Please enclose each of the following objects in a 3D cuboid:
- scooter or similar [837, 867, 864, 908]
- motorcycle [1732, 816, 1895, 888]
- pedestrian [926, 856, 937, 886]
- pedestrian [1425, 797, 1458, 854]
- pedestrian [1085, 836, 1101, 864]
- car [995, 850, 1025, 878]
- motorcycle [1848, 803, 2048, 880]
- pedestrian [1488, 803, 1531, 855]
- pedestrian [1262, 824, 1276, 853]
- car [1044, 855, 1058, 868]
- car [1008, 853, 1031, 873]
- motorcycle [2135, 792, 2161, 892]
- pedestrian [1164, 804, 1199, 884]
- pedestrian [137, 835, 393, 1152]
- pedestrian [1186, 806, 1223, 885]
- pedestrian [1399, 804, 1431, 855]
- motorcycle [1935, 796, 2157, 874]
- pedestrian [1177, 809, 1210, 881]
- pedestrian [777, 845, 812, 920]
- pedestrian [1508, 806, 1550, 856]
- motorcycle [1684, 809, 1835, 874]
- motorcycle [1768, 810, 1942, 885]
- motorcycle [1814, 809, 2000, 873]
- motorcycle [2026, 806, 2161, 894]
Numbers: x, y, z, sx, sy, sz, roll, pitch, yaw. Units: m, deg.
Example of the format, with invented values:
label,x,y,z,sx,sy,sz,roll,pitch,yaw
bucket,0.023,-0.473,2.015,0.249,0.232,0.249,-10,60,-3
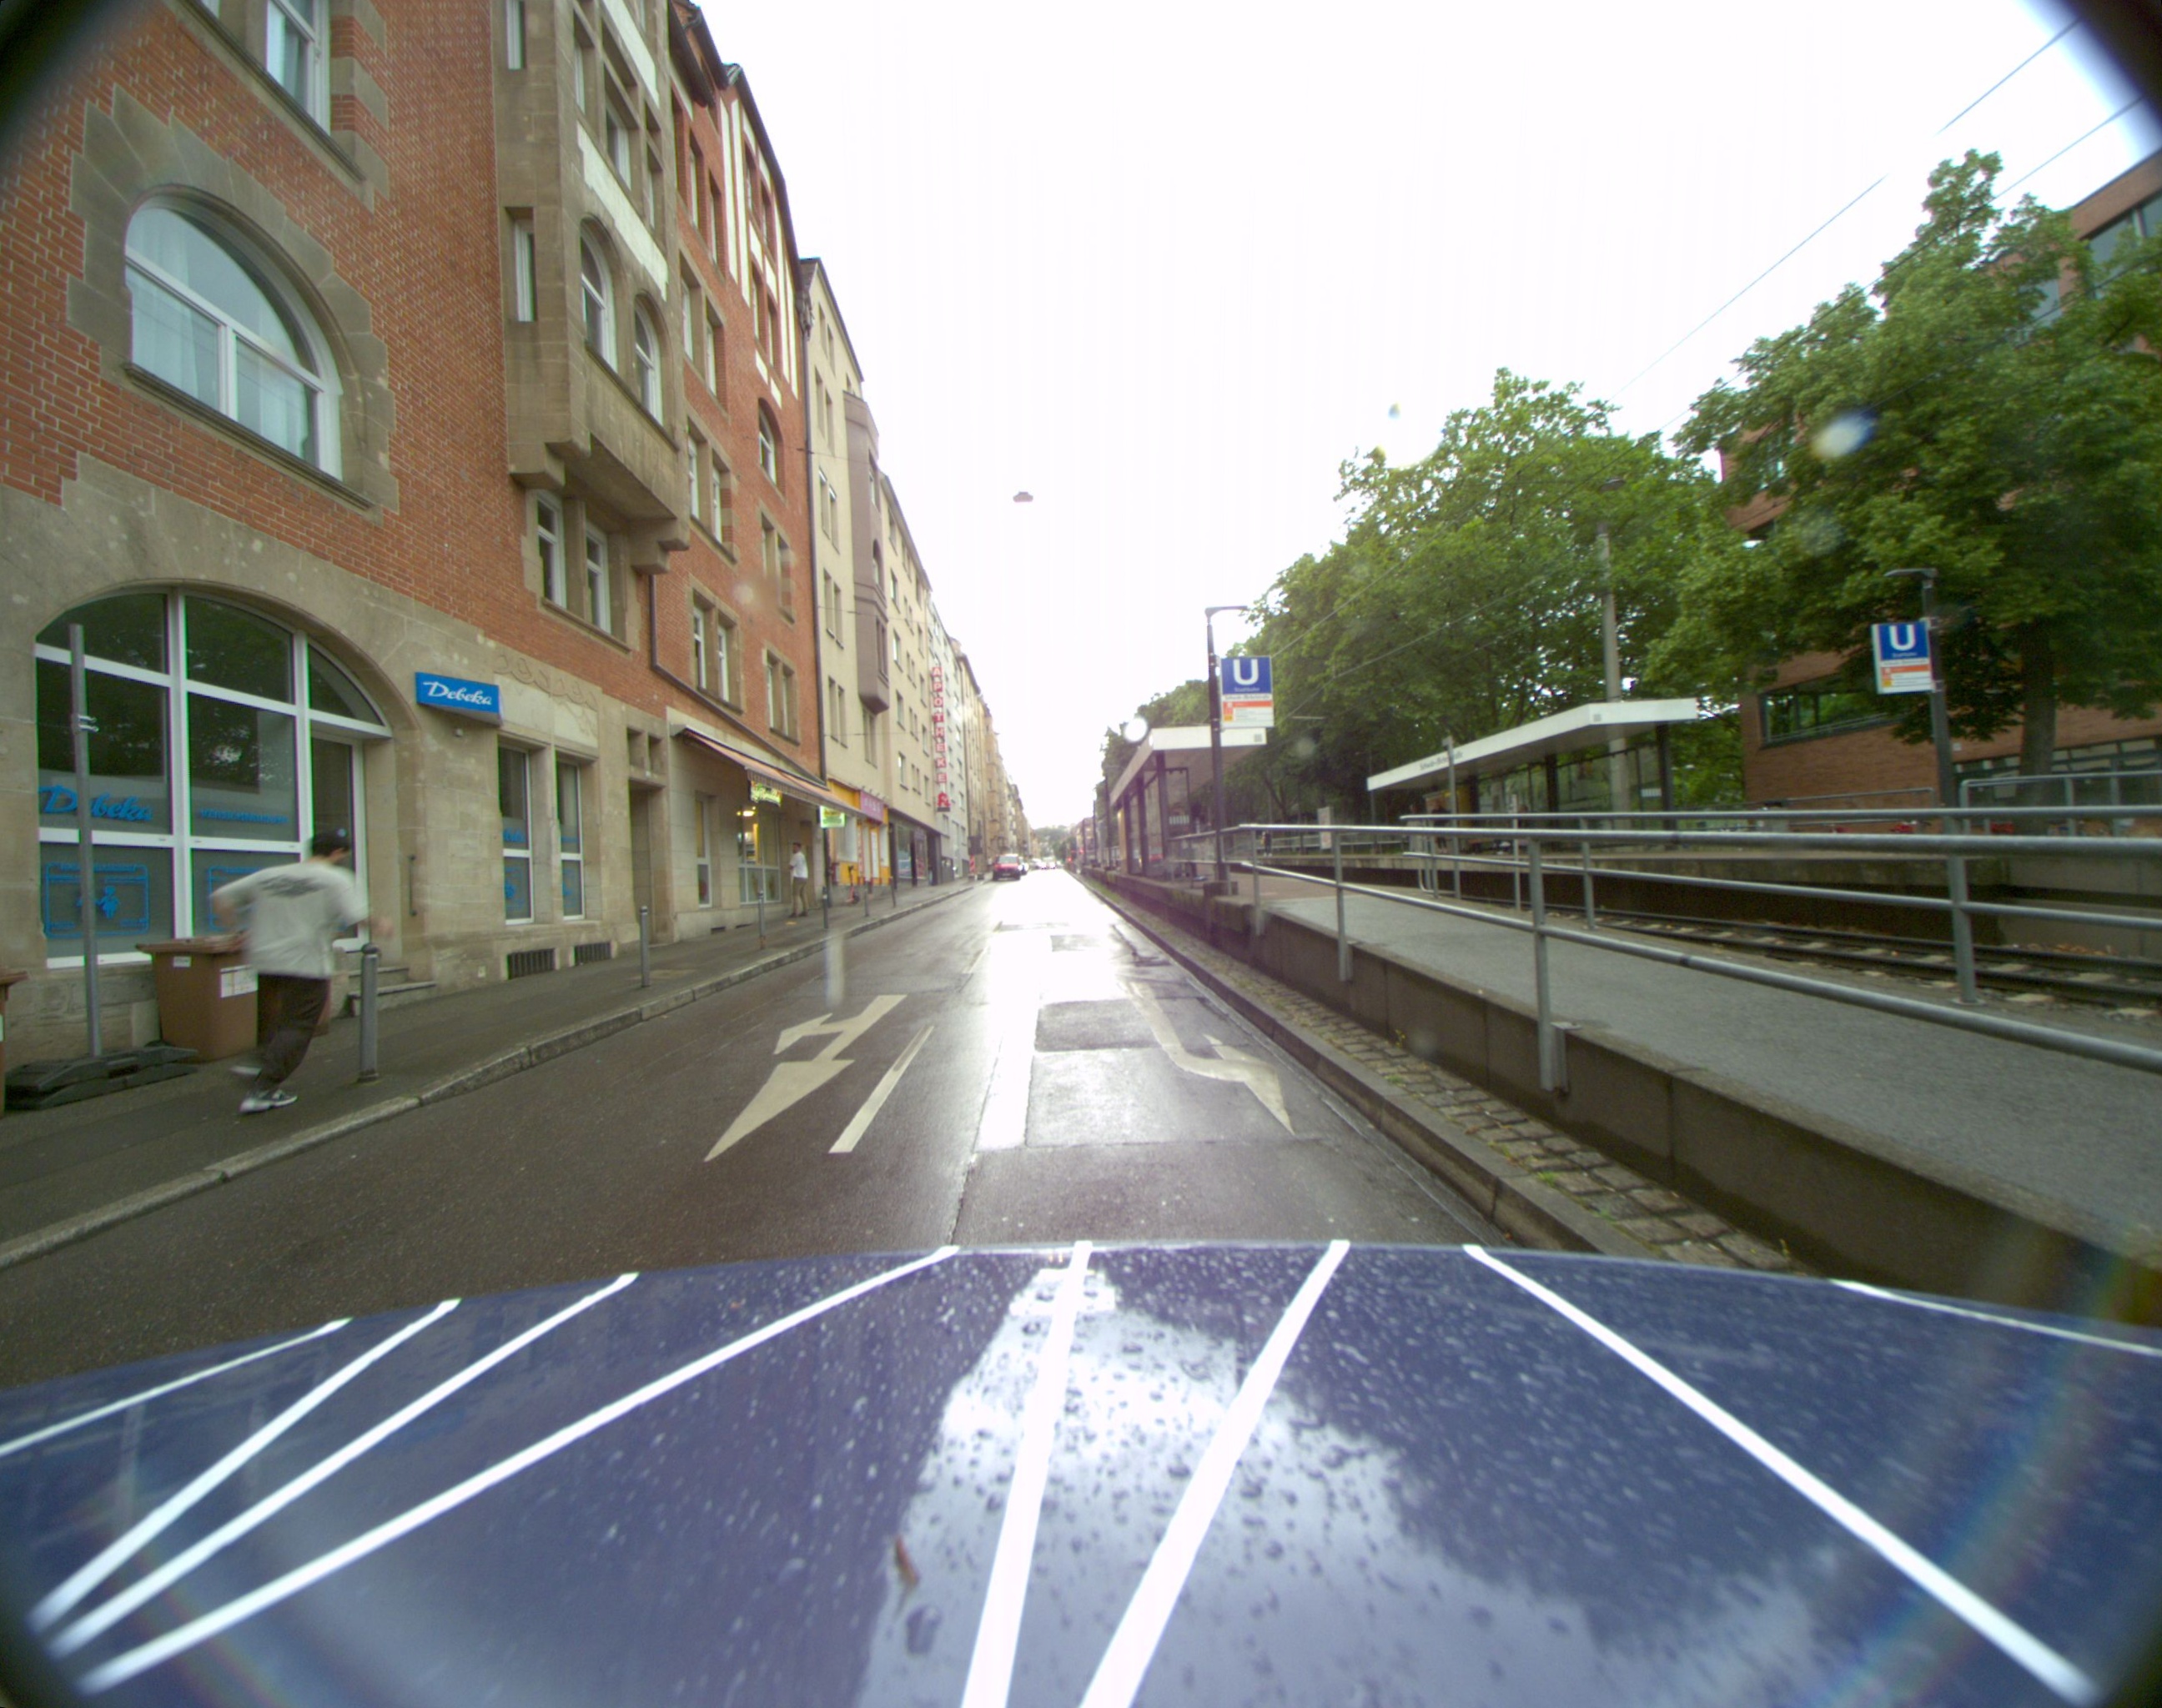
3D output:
label,x,y,z,sx,sy,sz,roll,pitch,yaw
scooter or similar,-7.198,1.031,23.754,0.258,1.214,1.195,-3,-1,7
motorcycle,21.135,-0.069,21.966,3.875,1.805,1.006,-3,1,-4
pedestrian,-8.452,0.962,43.016,0.482,1.635,0.331,-4,1,-14
pedestrian,11.211,-0.867,23.618,0.564,1.705,0.705,-4,0,-4
pedestrian,0.787,-0.262,49.799,0.861,1.788,0.787,-3,0,-3
car,-5.074,0.690,54.910,1.980,1.827,5.243,-3,0,-4
motorcycle,20.925,-0.292,18.377,3.875,1.596,1.006,-3,1,-4
pedestrian,11.671,-0.672,20.702,0.779,1.354,0.564,-4,0,-4
pedestrian,10.611,-0.869,42.932,0.563,1.631,0.689,-4,0,4
car,-3.746,0.946,94.922,1.621,1.592,4.066,-2,-1,-2
car,-5.737,0.858,71.105,1.770,1.698,4.499,-3,0,-1
motorcycle,21.180,-0.302,13.729,3.045,1.805,0.993,-3,1,-4
pedestrian,2.186,-0.208,16.503,0.615,1.678,0.587,-3,1,1
pedestrian,-4.959,0.771,4.695,0.687,1.743,0.835,-2,1,-16
pedestrian,2.558,-0.169,15.748,0.615,1.572,0.507,-3,1,1
pedestrian,11.063,-0.799,25.162,0.688,1.631,0.564,-4,0,-4
motorcycle,21.358,-0.418,16.864,3.875,1.479,1.006,-3,1,-4
pedestrian,2.530,-0.203,17.160,0.615,1.572,0.507,-3,1,1
pedestrian,-7.133,0.688,18.897,0.562,1.820,0.580,2,2,31
pedestrian,11.798,-0.598,20.027,0.705,1.233,0.564,-4,0,-4
motorcycle,20.947,-0.378,23.487,3.875,1.763,1.006,-3,1,-4
motorcycle,21.177,-0.182,20.818,3.875,1.805,1.006,-3,1,-4
motorcycle,21.242,-0.327,19.588,3.875,1.399,1.006,-3,1,-4
motorcycle,21.327,-0.113,15.466,3.067,1.618,1.006,-3,1,-4
